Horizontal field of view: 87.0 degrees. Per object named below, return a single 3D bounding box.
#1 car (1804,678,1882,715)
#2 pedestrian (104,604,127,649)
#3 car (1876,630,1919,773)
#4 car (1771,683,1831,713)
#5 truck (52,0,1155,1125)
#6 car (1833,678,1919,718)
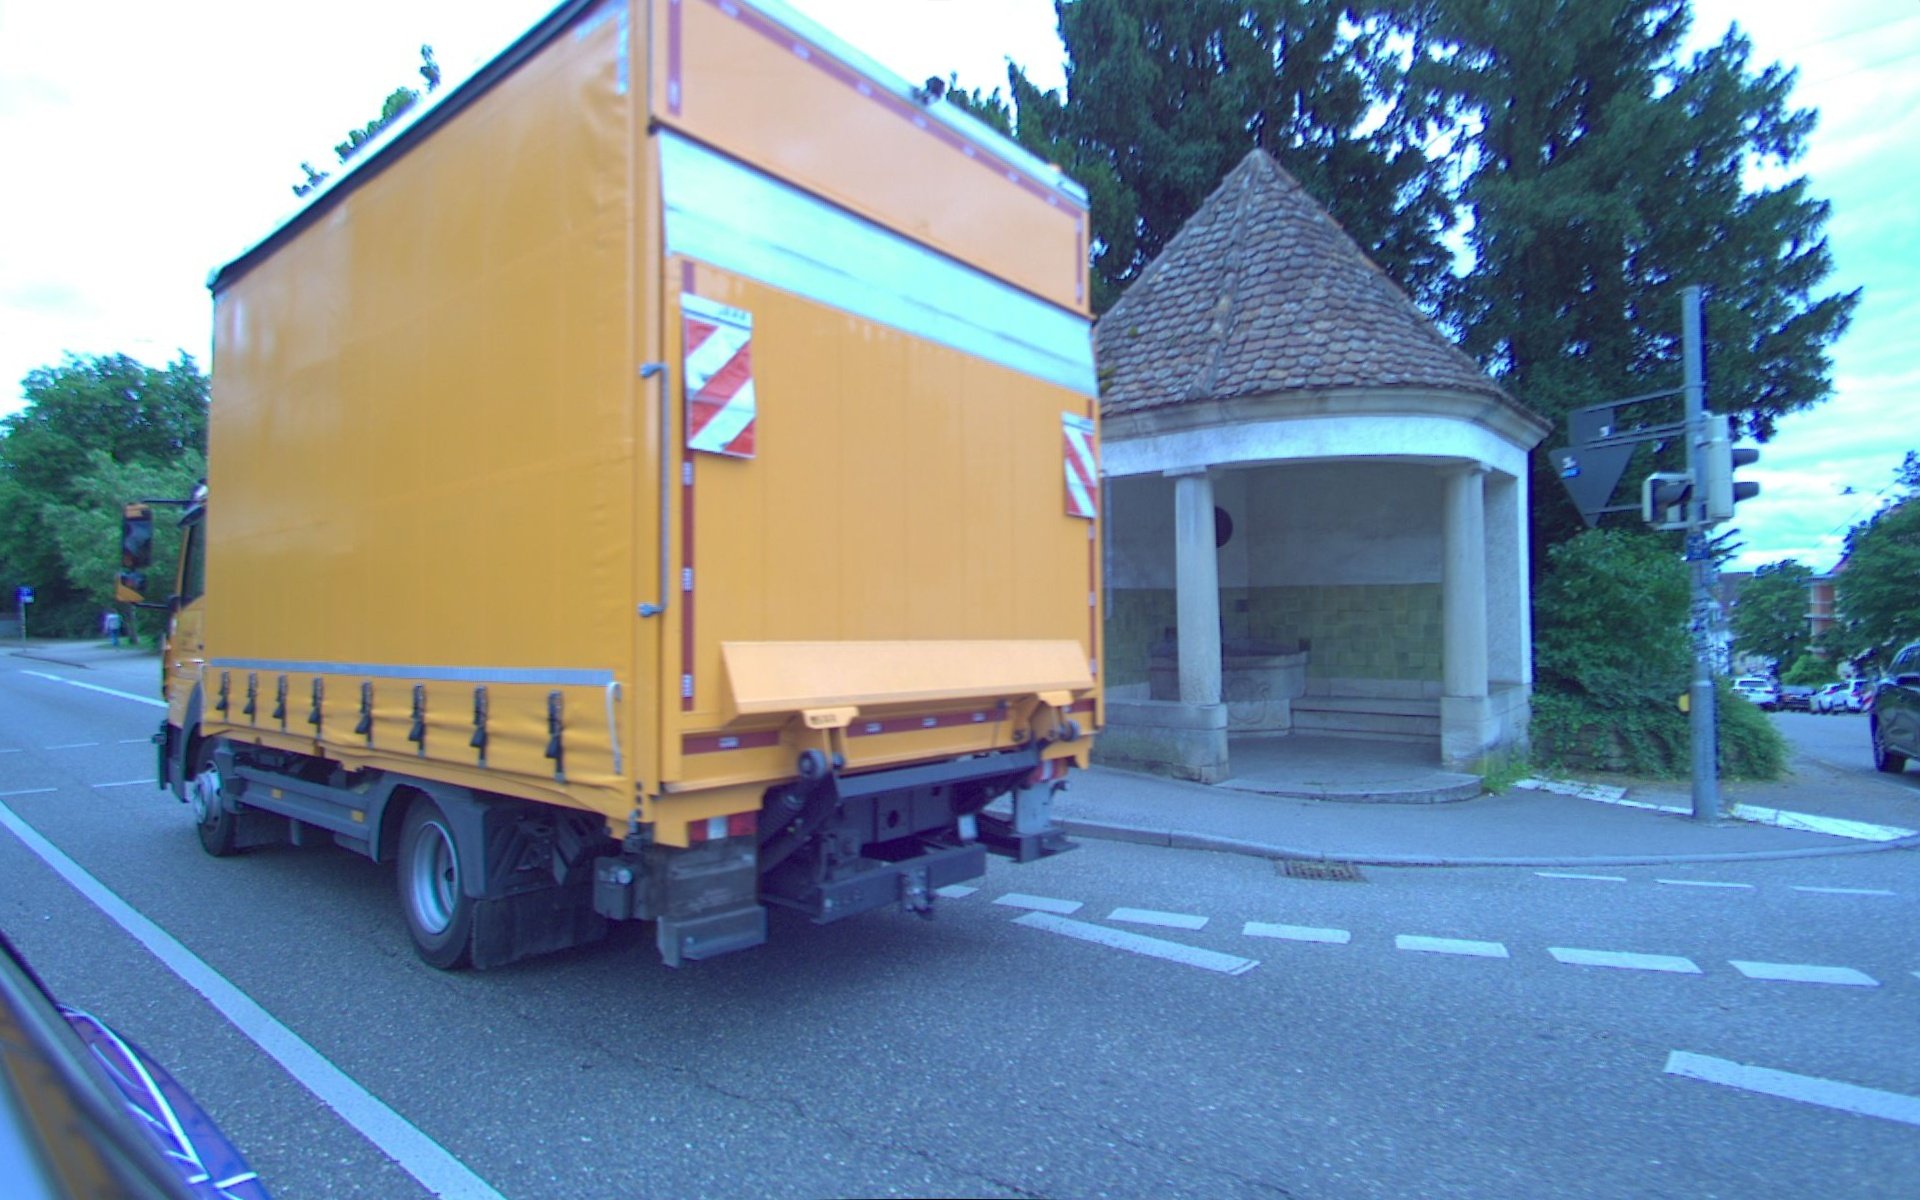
[{"bbox_3d":[39.511,4.337,45.398,1.994,1.529,3.955,-2,-6,32],"label":"car"},{"bbox_3d":[-34.768,1.111,41.665,0.784,1.825,0.607,-3,-4,41],"label":"pedestrian"},{"bbox_3d":[12.159,1.184,11.459,1.961,1.682,4.436,-1,-4,34],"label":"car"},{"bbox_3d":[46.262,5.389,55.776,1.994,1.529,3.955,-2,-6,32],"label":"car"},{"bbox_3d":[-3.167,-0.379,6.525,8.462,3.747,2.741,-1,-3,40],"label":"truck"},{"bbox_3d":[37.522,3.997,41.474,1.994,1.529,3.955,-2,-6,32],"label":"car"}]
